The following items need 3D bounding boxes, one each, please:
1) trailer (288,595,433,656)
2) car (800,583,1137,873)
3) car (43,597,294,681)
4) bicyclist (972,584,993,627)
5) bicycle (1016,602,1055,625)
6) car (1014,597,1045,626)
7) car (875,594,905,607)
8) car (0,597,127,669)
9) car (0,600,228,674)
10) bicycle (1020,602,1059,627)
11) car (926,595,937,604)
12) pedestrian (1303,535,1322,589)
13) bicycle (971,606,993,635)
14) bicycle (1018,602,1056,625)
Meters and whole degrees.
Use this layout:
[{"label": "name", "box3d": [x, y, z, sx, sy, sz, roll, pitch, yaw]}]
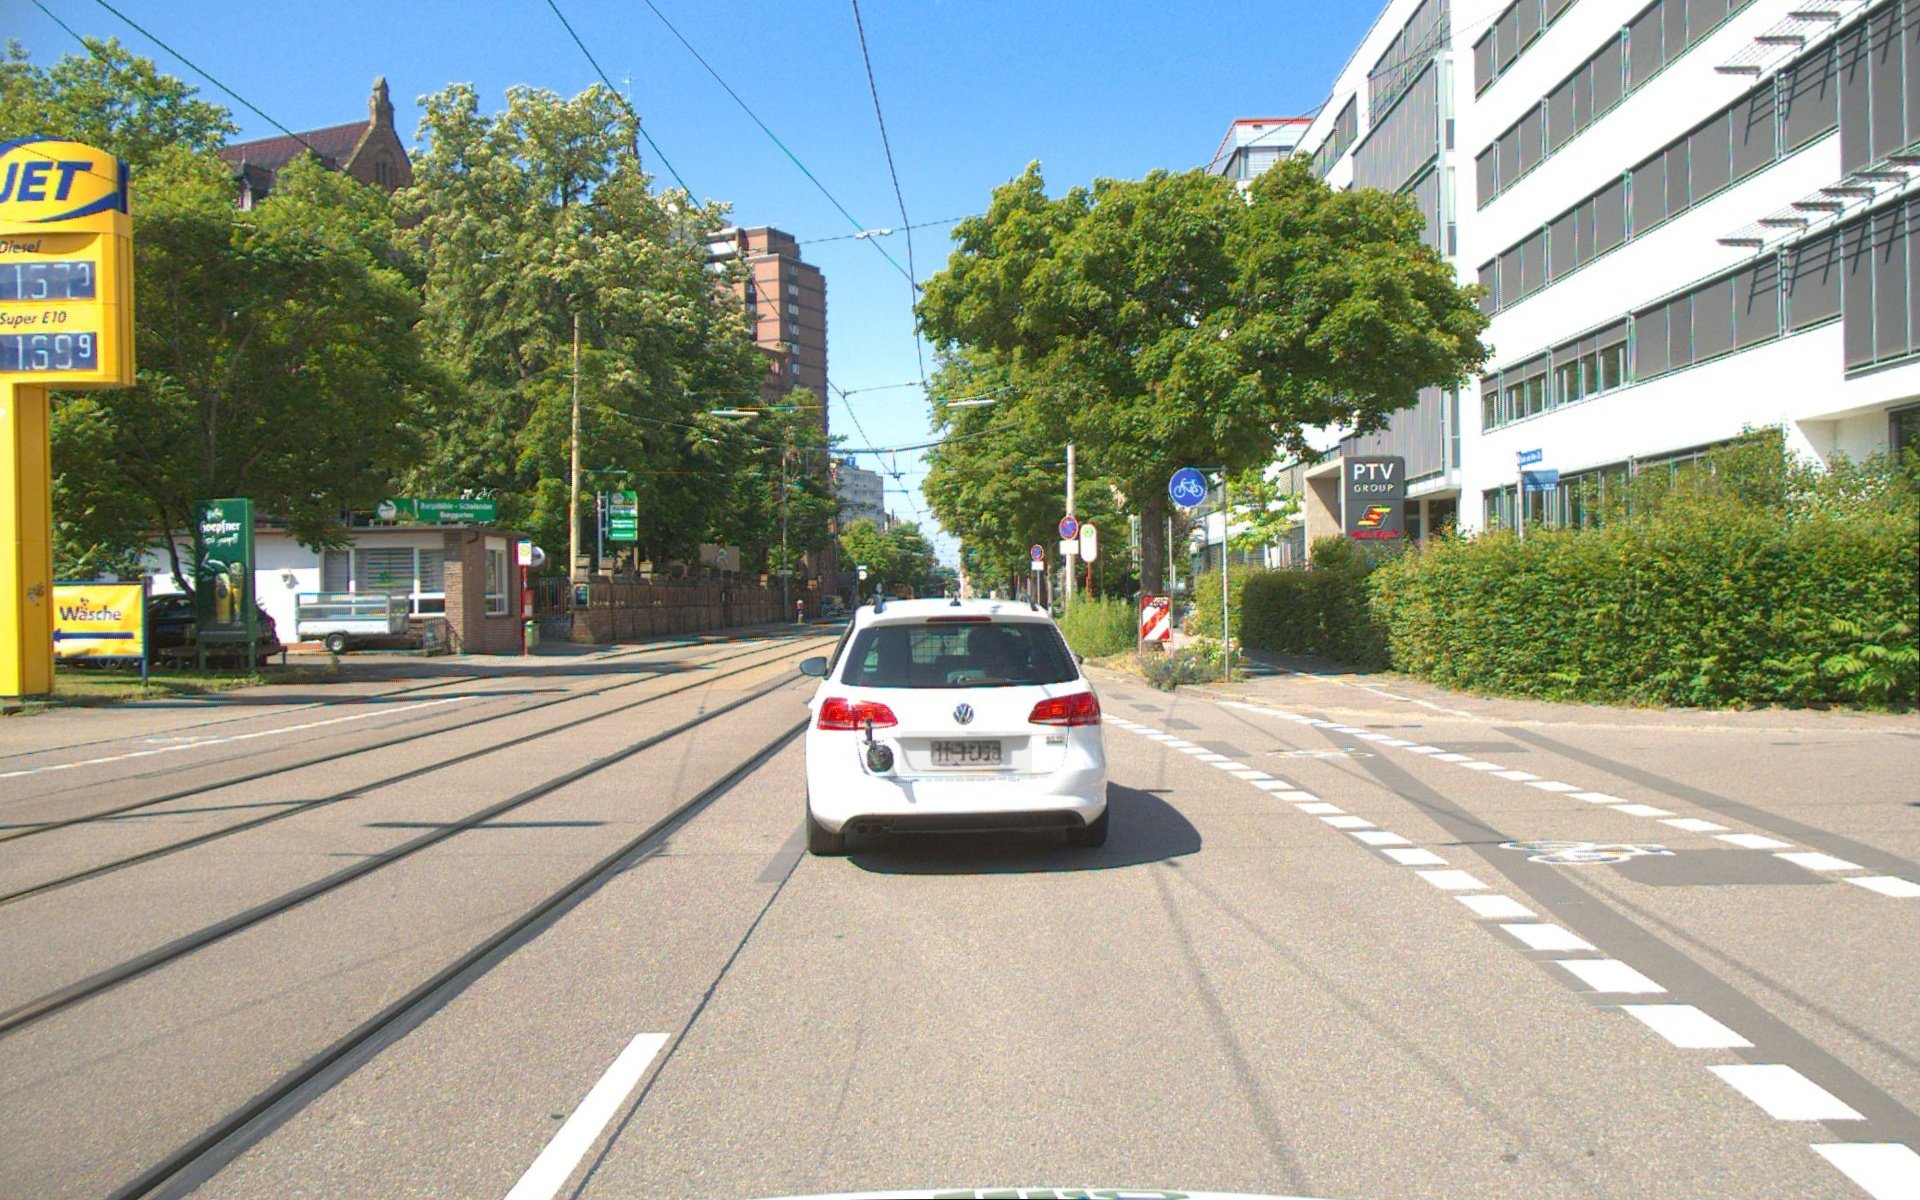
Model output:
[{"label": "trailer", "box3d": [-15.906, 0.669, 43.967, 3.148, 1.552, 1.778, -1, 0, 2]}, {"label": "car", "box3d": [0.022, 0.637, 10.719, 1.718, 1.467, 4.412, -1, 1, -1]}, {"label": "car", "box3d": [-17.095, 0.807, 35.865, 1.917, 1.653, 4.546, -1, 0, 45]}, {"label": "bicyclist", "box3d": [0.872, 0.222, 64.977, 0.769, 1.658, 0.738, -2, -3, 1]}, {"label": "bicycle", "box3d": [3.761, 0.671, 82.232, 1.873, 1.102, 0.550, 1, 0, -2]}, {"label": "car", "box3d": [3.655, 0.585, 87.542, 1.557, 1.476, 3.946, -2, 0, 1]}, {"label": "car", "box3d": [-10.122, 0.075, 239.743, 3.954, 1.847, 1.975, -2, 0, -35]}, {"label": "car", "box3d": [-22.035, 0.767, 38.295, 4.545, 1.611, 1.917, -1, 0, -45]}, {"label": "car", "box3d": [-19.178, 0.796, 37.270, 1.917, 1.493, 4.546, -1, 0, 45]}, {"label": "bicycle", "box3d": [3.688, 0.674, 76.637, 1.738, 1.102, 0.596, -2, 0, -2]}, {"label": "car", "box3d": [-4.167, -0.067, 245.087, 1.462, 1.409, 3.643, -2, 0, 1]}, {"label": "pedestrian", "box3d": [11.561, -1.233, 54.228, 0.488, 1.758, 0.547, -1, 0, 0]}, {"label": "bicycle", "box3d": [0.867, 0.808, 64.808, 0.794, 1.097, 2.012, -1, 0, 1]}, {"label": "bicycle", "box3d": [3.795, 0.676, 81.633, 1.873, 1.102, 0.550, 0, 0, -2]}]
